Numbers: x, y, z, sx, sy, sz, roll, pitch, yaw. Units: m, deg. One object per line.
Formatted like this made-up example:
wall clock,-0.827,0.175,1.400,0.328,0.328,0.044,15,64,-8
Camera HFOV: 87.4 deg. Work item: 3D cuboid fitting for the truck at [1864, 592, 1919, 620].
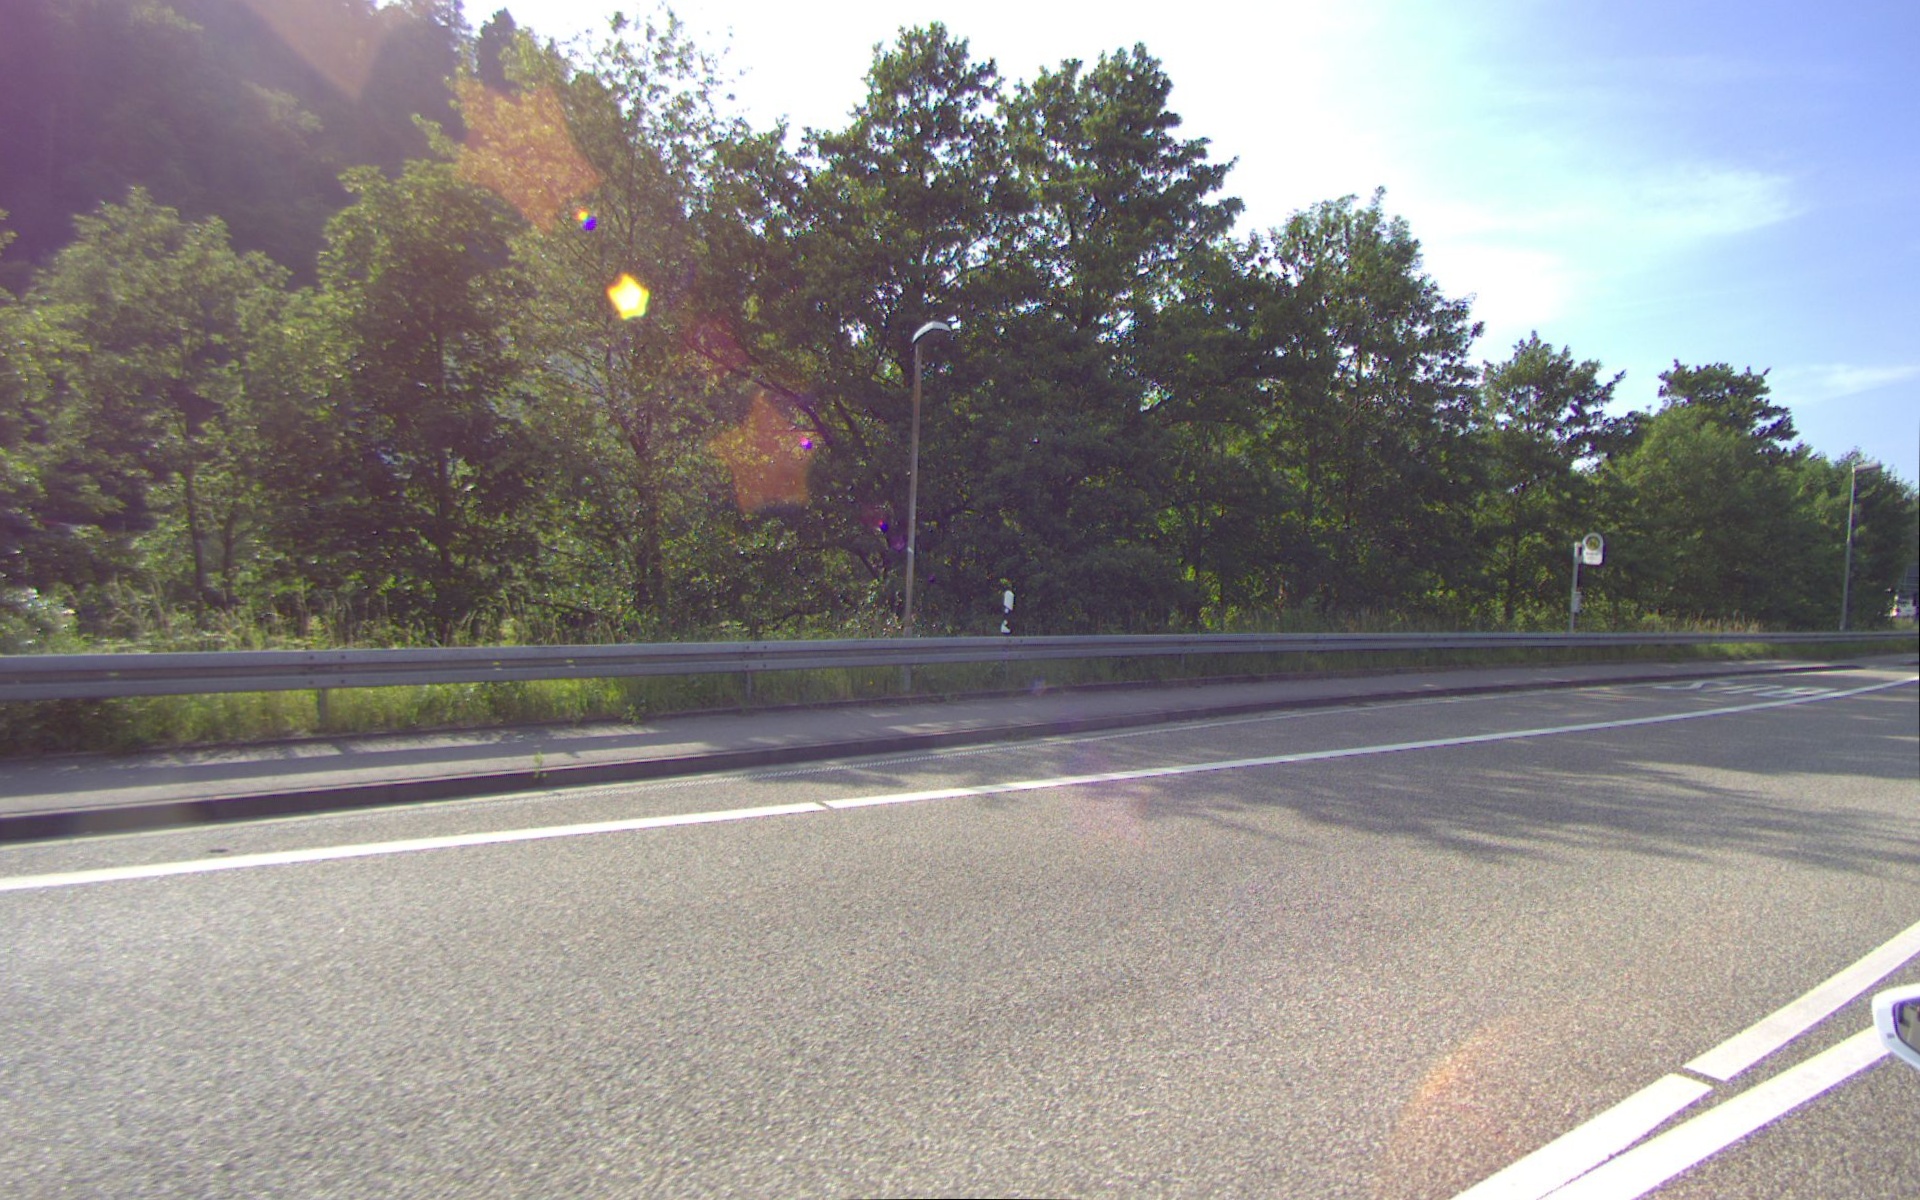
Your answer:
truck,112.834,0.651,121.709,2.668,3.125,6.106,4,2,21
